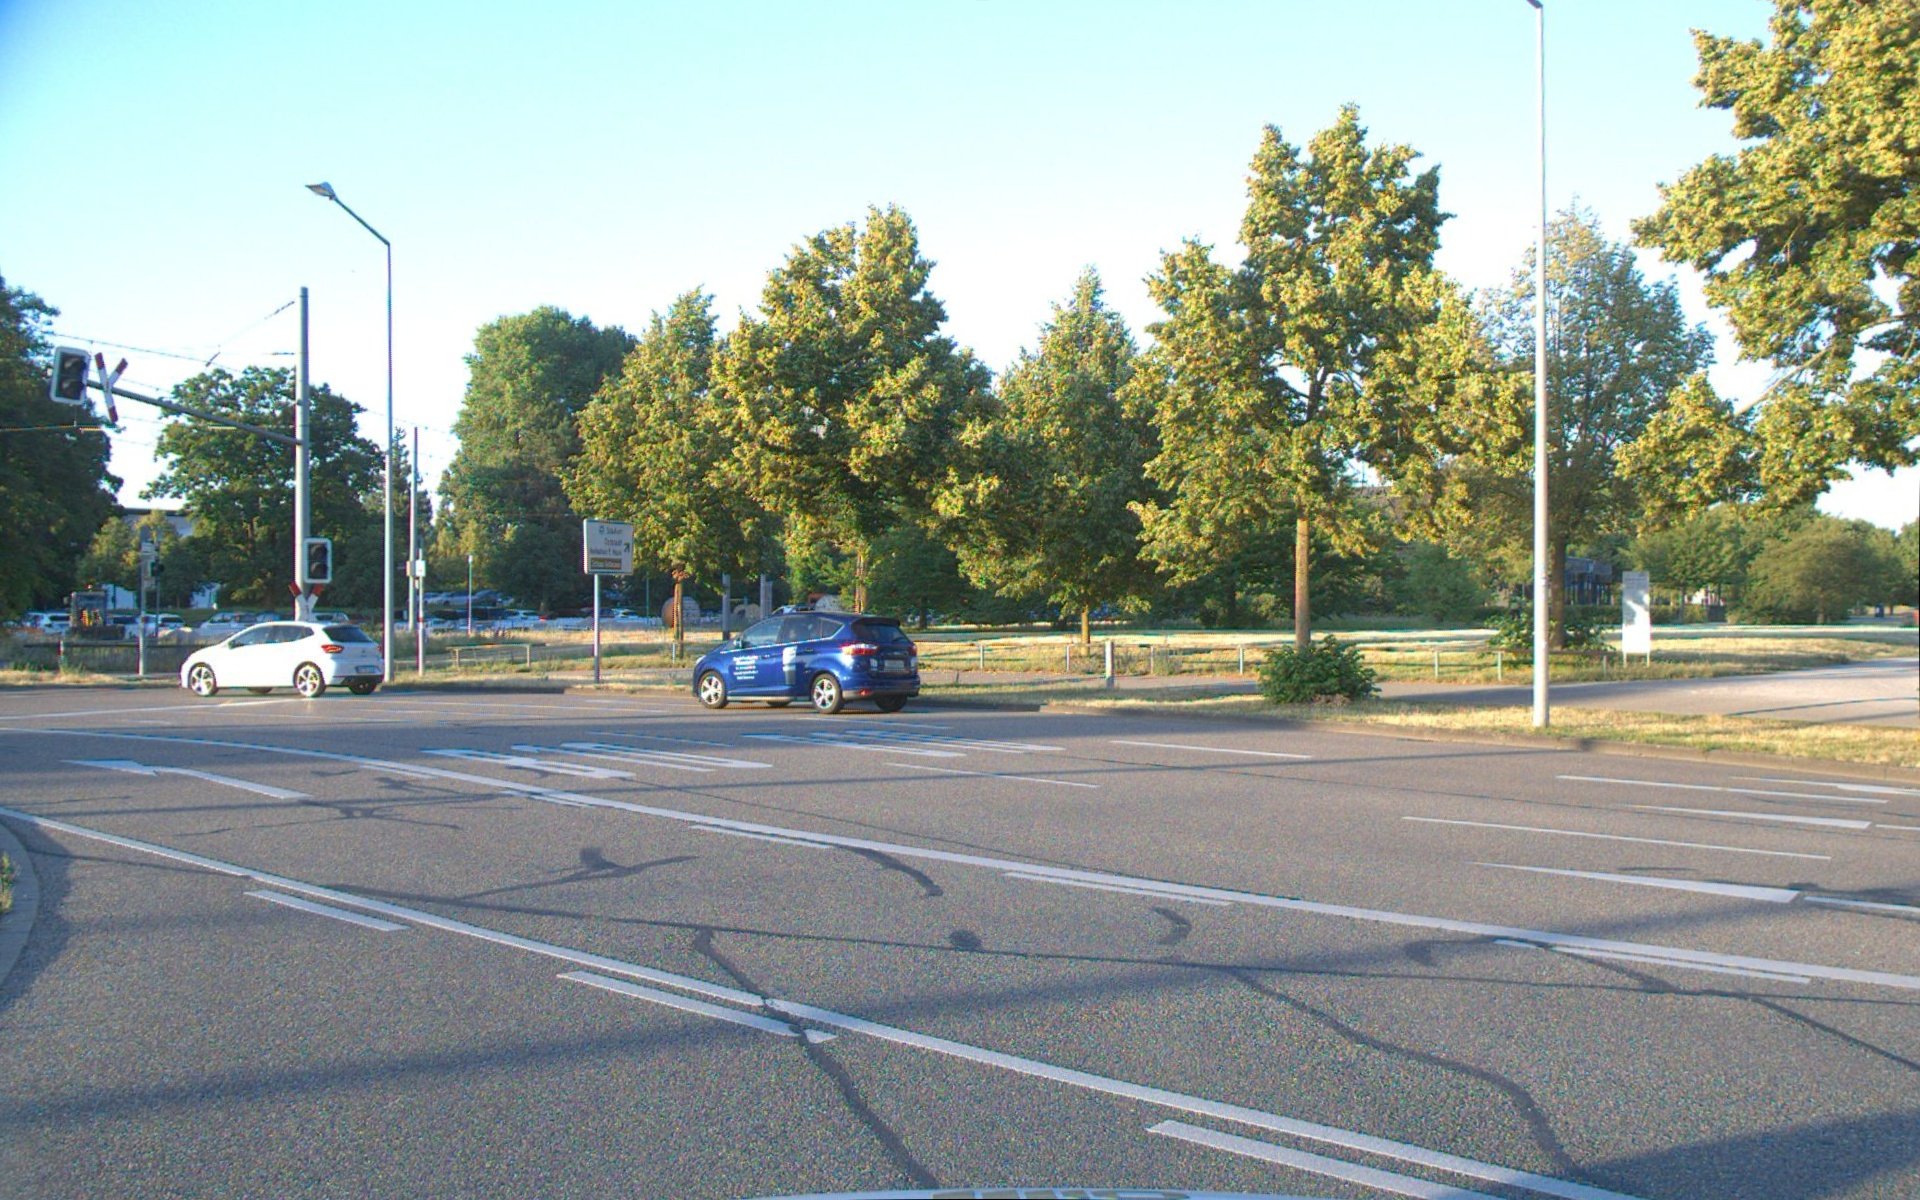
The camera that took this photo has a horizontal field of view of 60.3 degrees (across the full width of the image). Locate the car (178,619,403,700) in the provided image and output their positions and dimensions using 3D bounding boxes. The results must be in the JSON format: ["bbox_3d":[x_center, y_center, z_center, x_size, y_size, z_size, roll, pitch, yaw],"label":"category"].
[{"bbox_3d":[-13.158,1.133,32.545,3.876,1.479,1.868,0,0,20],"label":"car"}]

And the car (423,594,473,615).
[{"bbox_3d":[-46.751,0.390,151.075,1.959,1.847,3.987,0,0,34],"label":"car"}]

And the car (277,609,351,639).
[{"bbox_3d":[-36.624,1.339,93.794,3.915,1.632,1.995,0,0,33],"label":"car"}]

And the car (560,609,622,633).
[{"bbox_3d":[-25.356,1.445,113.510,3.915,1.632,1.995,0,0,33],"label":"car"}]

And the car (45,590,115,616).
[{"bbox_3d":[-69.487,0.213,130.656,1.956,2.049,4.590,0,0,29],"label":"car"}]

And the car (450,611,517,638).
[{"bbox_3d":[-30.130,1.515,104.558,3.915,1.632,1.995,0,0,33],"label":"car"}]

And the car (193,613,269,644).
[{"bbox_3d":[-39.793,1.529,90.325,3.915,1.632,1.995,0,0,33],"label":"car"}]

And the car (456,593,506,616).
[{"bbox_3d":[-42.911,0.381,148.217,1.963,2.049,3.979,0,0,40],"label":"car"}]

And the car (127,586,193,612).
[{"bbox_3d":[-66.027,-0.094,136.504,1.959,2.049,4.584,0,0,34],"label":"car"}]

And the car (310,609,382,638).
[{"bbox_3d":[-35.663,1.369,96.005,3.915,1.632,1.995,0,0,33],"label":"car"}]

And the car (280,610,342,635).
[{"bbox_3d":[-44.780,1.528,114.153,3.932,1.691,1.890,0,0,-23],"label":"car"}]

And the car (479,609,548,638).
[{"bbox_3d":[-31.584,1.655,117.040,4.498,2.049,1.996,0,0,-9],"label":"car"}]

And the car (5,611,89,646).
[{"bbox_3d":[-44.955,1.387,81.423,3.915,1.632,1.995,0,0,33],"label":"car"}]

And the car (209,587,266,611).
[{"bbox_3d":[-62.240,-0.066,142.496,1.958,2.049,4.104,0,0,33],"label":"car"}]

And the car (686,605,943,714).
[{"bbox_3d":[-2.460,0.921,27.424,4.102,1.611,1.906,1,0,39],"label":"car"}]

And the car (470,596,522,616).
[{"bbox_3d":[-40.537,0.561,144.685,3.902,1.736,2.001,0,0,7],"label":"car"}]

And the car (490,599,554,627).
[{"bbox_3d":[-33.126,0.959,125.242,4.498,2.049,1.996,0,0,-9],"label":"car"}]

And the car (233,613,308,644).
[{"bbox_3d":[-38.338,1.564,91.981,3.915,1.632,1.995,0,0,33],"label":"car"}]

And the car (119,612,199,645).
[{"bbox_3d":[-41.552,1.472,85.749,3.915,1.632,1.995,0,0,33],"label":"car"}]

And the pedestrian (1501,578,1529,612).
[{"bbox_3d":[26.648,-0.235,79.381,1.047,1.646,0.911,0,0,2],"label":"pedestrian"}]

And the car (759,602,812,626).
[{"bbox_3d":[-12.083,0.971,114.403,1.723,1.646,3.941,0,0,-40],"label":"car"}]

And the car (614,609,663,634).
[{"bbox_3d":[-24.902,1.641,128.125,1.978,1.782,4.539,0,1,-36],"label":"car"}]

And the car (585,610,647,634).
[{"bbox_3d":[-23.974,1.534,115.249,3.915,1.632,1.995,0,0,33],"label":"car"}]

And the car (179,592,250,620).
[{"bbox_3d":[-55.656,0.464,123.570,1.956,2.049,4.590,0,0,29],"label":"car"}]

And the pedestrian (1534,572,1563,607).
[{"bbox_3d":[27.975,-0.489,78.611,1.047,1.646,0.911,0,0,2],"label":"pedestrian"}]
